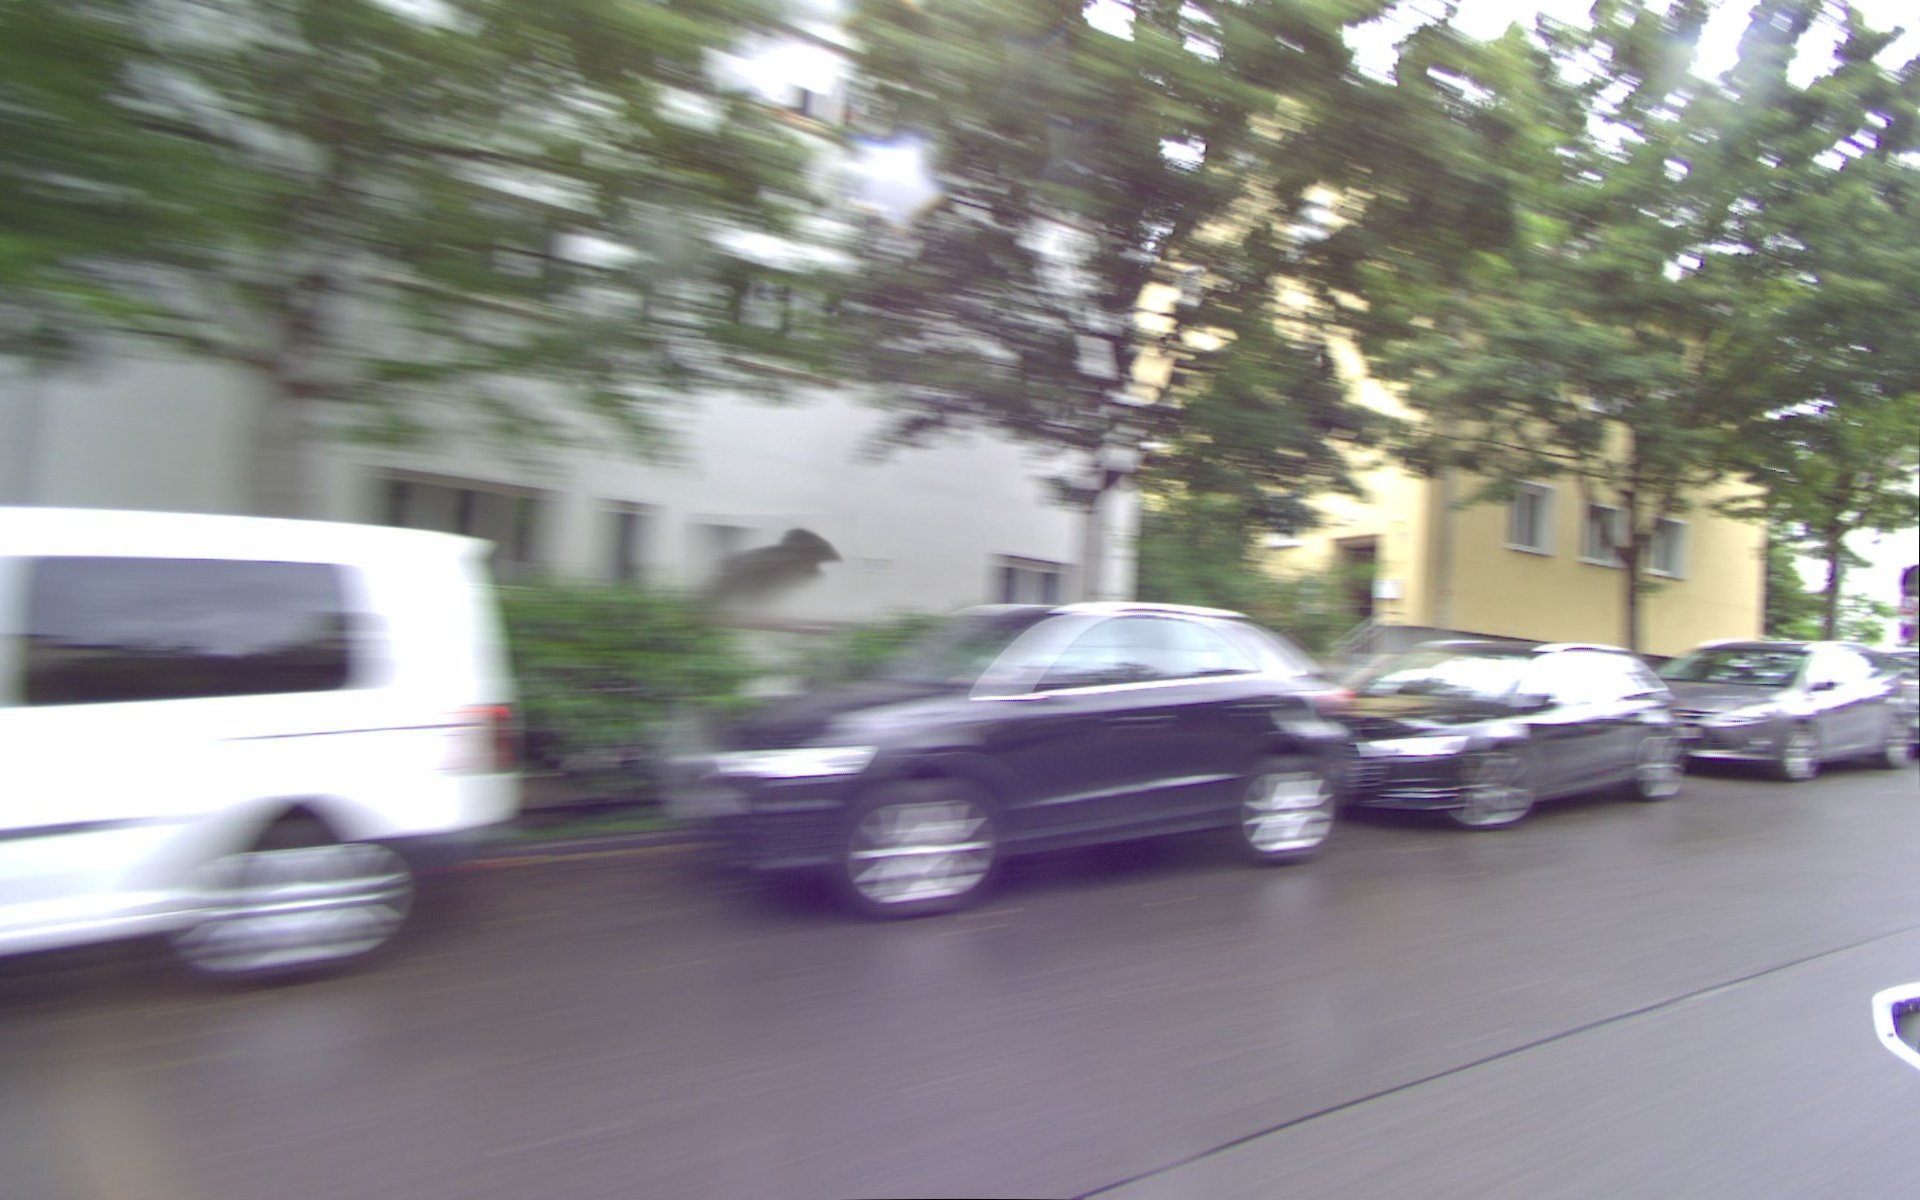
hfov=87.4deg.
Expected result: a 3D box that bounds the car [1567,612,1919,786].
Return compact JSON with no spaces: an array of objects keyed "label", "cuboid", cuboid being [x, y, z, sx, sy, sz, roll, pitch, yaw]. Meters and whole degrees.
[{"label":"car","cuboid":[9.490,1.076,11.926,4.498,1.712,1.846,2,-1,-28]}]

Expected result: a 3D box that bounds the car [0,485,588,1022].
[{"label":"car","cuboid":[-4.003,0.519,3.955,4.437,1.800,1.842,2,-2,-34]}]

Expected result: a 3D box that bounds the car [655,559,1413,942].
[{"label":"car","cuboid":[0.594,0.753,6.378,4.533,1.690,1.845,2,-1,-30]}]

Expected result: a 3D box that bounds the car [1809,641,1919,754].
[{"label":"car","cuboid":[13.995,1.349,14.306,4.273,1.415,1.606,2,-1,-31]}]

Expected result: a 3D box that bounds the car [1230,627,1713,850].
[{"label":"car","cuboid":[4.750,1.056,9.073,4.691,1.518,1.843,2,-1,-34]}]
